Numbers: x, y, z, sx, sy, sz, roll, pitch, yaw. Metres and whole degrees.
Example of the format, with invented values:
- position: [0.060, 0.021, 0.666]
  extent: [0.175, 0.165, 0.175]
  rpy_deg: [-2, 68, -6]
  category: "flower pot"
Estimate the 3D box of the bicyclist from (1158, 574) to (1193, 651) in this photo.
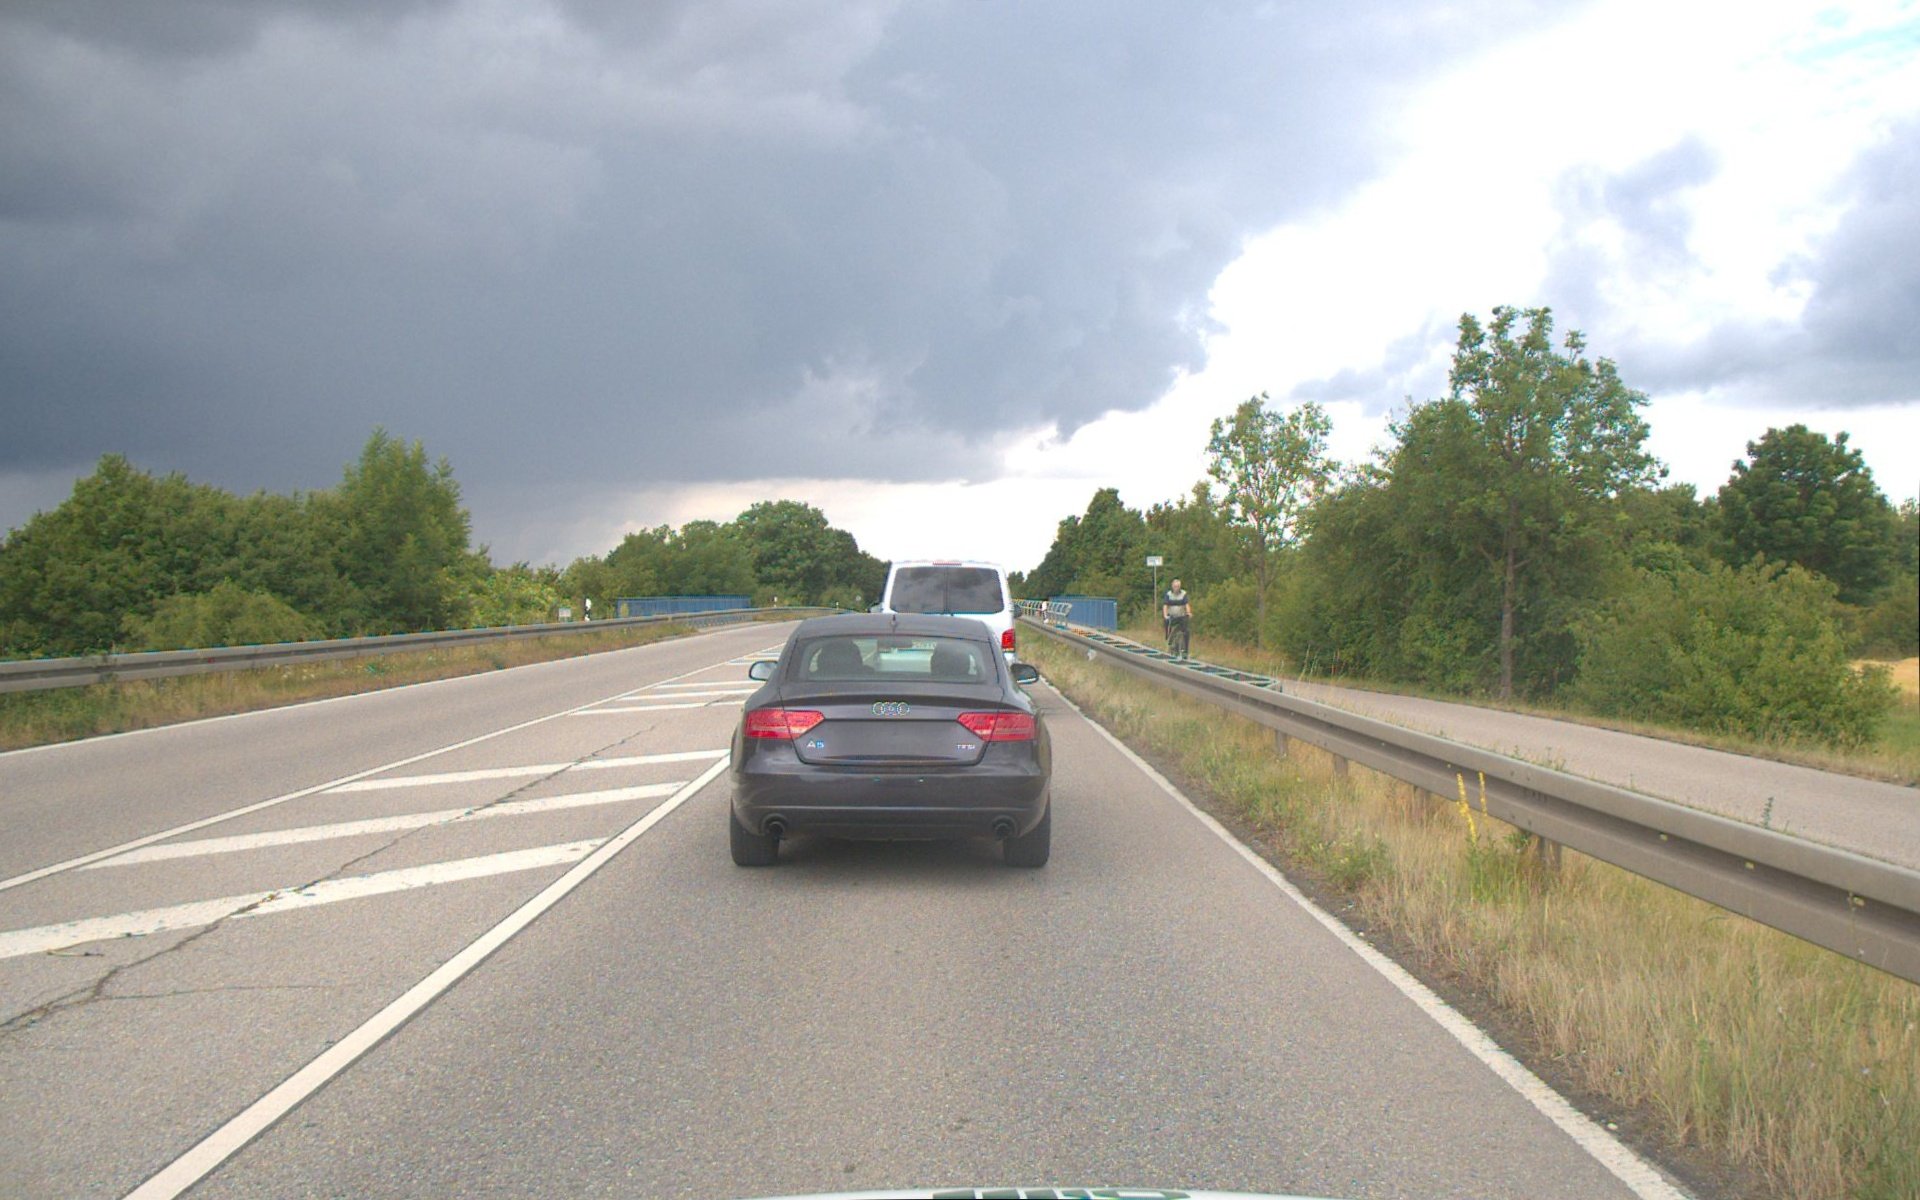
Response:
- position: [4.715, 0.272, 36.238]
  extent: [0.634, 1.674, 0.866]
  rpy_deg: [0, 0, -1]
  category: "bicyclist"

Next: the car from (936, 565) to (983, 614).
- position: [-0.040, -0.550, 88.982]
  extent: [2.397, 2.548, 5.041]
  rpy_deg: [1, 0, 0]
  category: "car"

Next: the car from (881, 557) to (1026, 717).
- position: [-0.107, 0.467, 22.233]
  extent: [1.749, 1.923, 3.999]
  rpy_deg: [1, 0, -1]
  category: "car"

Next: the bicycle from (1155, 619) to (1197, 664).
- position: [4.711, 0.897, 36.237]
  extent: [0.652, 0.936, 1.830]
  rpy_deg: [0, 0, -1]
  category: "bicycle"

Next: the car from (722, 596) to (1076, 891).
- position: [-0.325, 0.733, 10.277]
  extent: [1.749, 1.448, 3.999]
  rpy_deg: [1, 0, -1]
  category: "car"
